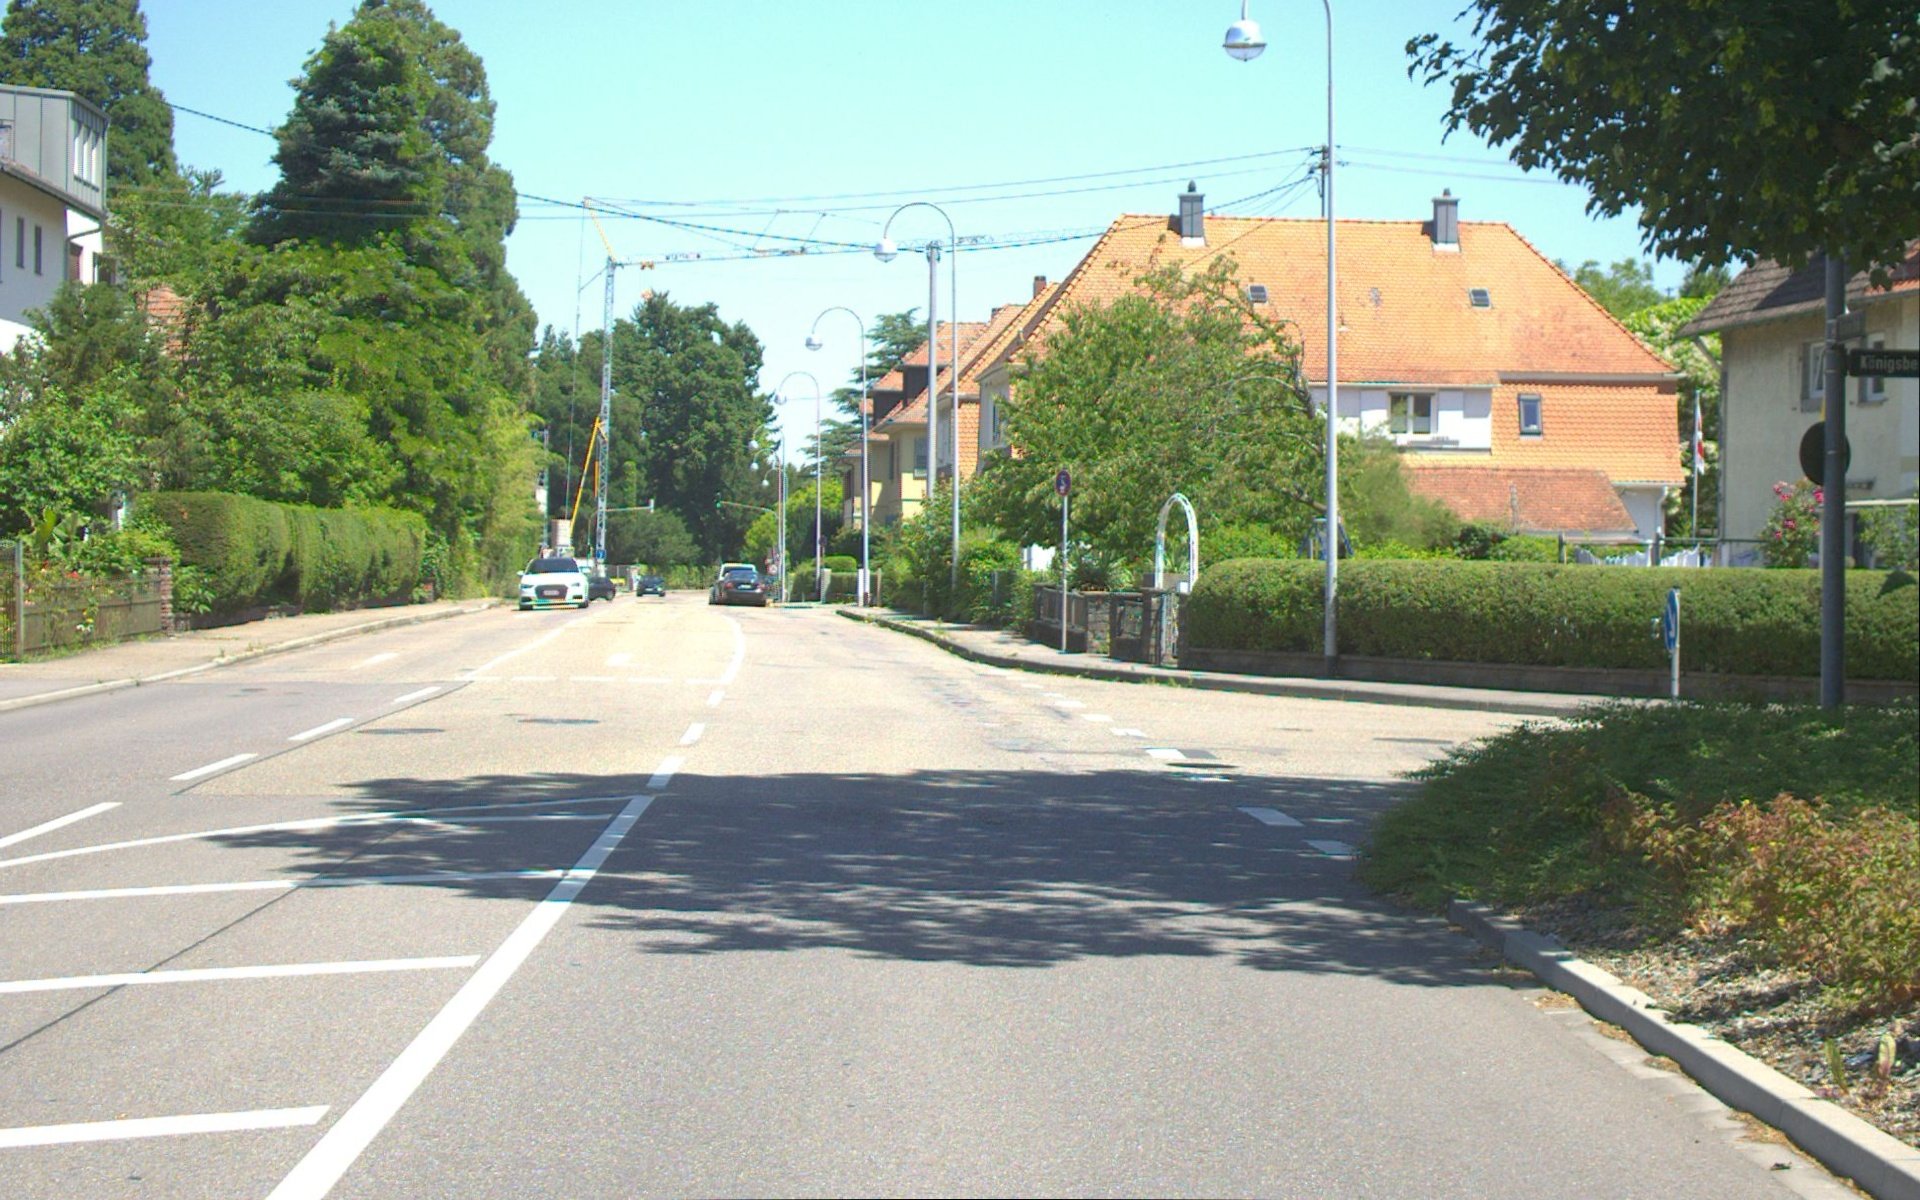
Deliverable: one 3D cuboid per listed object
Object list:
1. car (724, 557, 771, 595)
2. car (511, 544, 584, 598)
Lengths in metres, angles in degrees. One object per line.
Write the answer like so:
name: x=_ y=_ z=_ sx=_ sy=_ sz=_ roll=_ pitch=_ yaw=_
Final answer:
car: x=-8.458 y=-0.942 z=136.659 sx=1.692 sy=1.414 sz=4.551 roll=1 pitch=0 yaw=-6
car: x=-11.037 y=-0.791 z=92.201 sx=1.680 sy=1.368 sz=4.207 roll=-1 pitch=1 yaw=-3
